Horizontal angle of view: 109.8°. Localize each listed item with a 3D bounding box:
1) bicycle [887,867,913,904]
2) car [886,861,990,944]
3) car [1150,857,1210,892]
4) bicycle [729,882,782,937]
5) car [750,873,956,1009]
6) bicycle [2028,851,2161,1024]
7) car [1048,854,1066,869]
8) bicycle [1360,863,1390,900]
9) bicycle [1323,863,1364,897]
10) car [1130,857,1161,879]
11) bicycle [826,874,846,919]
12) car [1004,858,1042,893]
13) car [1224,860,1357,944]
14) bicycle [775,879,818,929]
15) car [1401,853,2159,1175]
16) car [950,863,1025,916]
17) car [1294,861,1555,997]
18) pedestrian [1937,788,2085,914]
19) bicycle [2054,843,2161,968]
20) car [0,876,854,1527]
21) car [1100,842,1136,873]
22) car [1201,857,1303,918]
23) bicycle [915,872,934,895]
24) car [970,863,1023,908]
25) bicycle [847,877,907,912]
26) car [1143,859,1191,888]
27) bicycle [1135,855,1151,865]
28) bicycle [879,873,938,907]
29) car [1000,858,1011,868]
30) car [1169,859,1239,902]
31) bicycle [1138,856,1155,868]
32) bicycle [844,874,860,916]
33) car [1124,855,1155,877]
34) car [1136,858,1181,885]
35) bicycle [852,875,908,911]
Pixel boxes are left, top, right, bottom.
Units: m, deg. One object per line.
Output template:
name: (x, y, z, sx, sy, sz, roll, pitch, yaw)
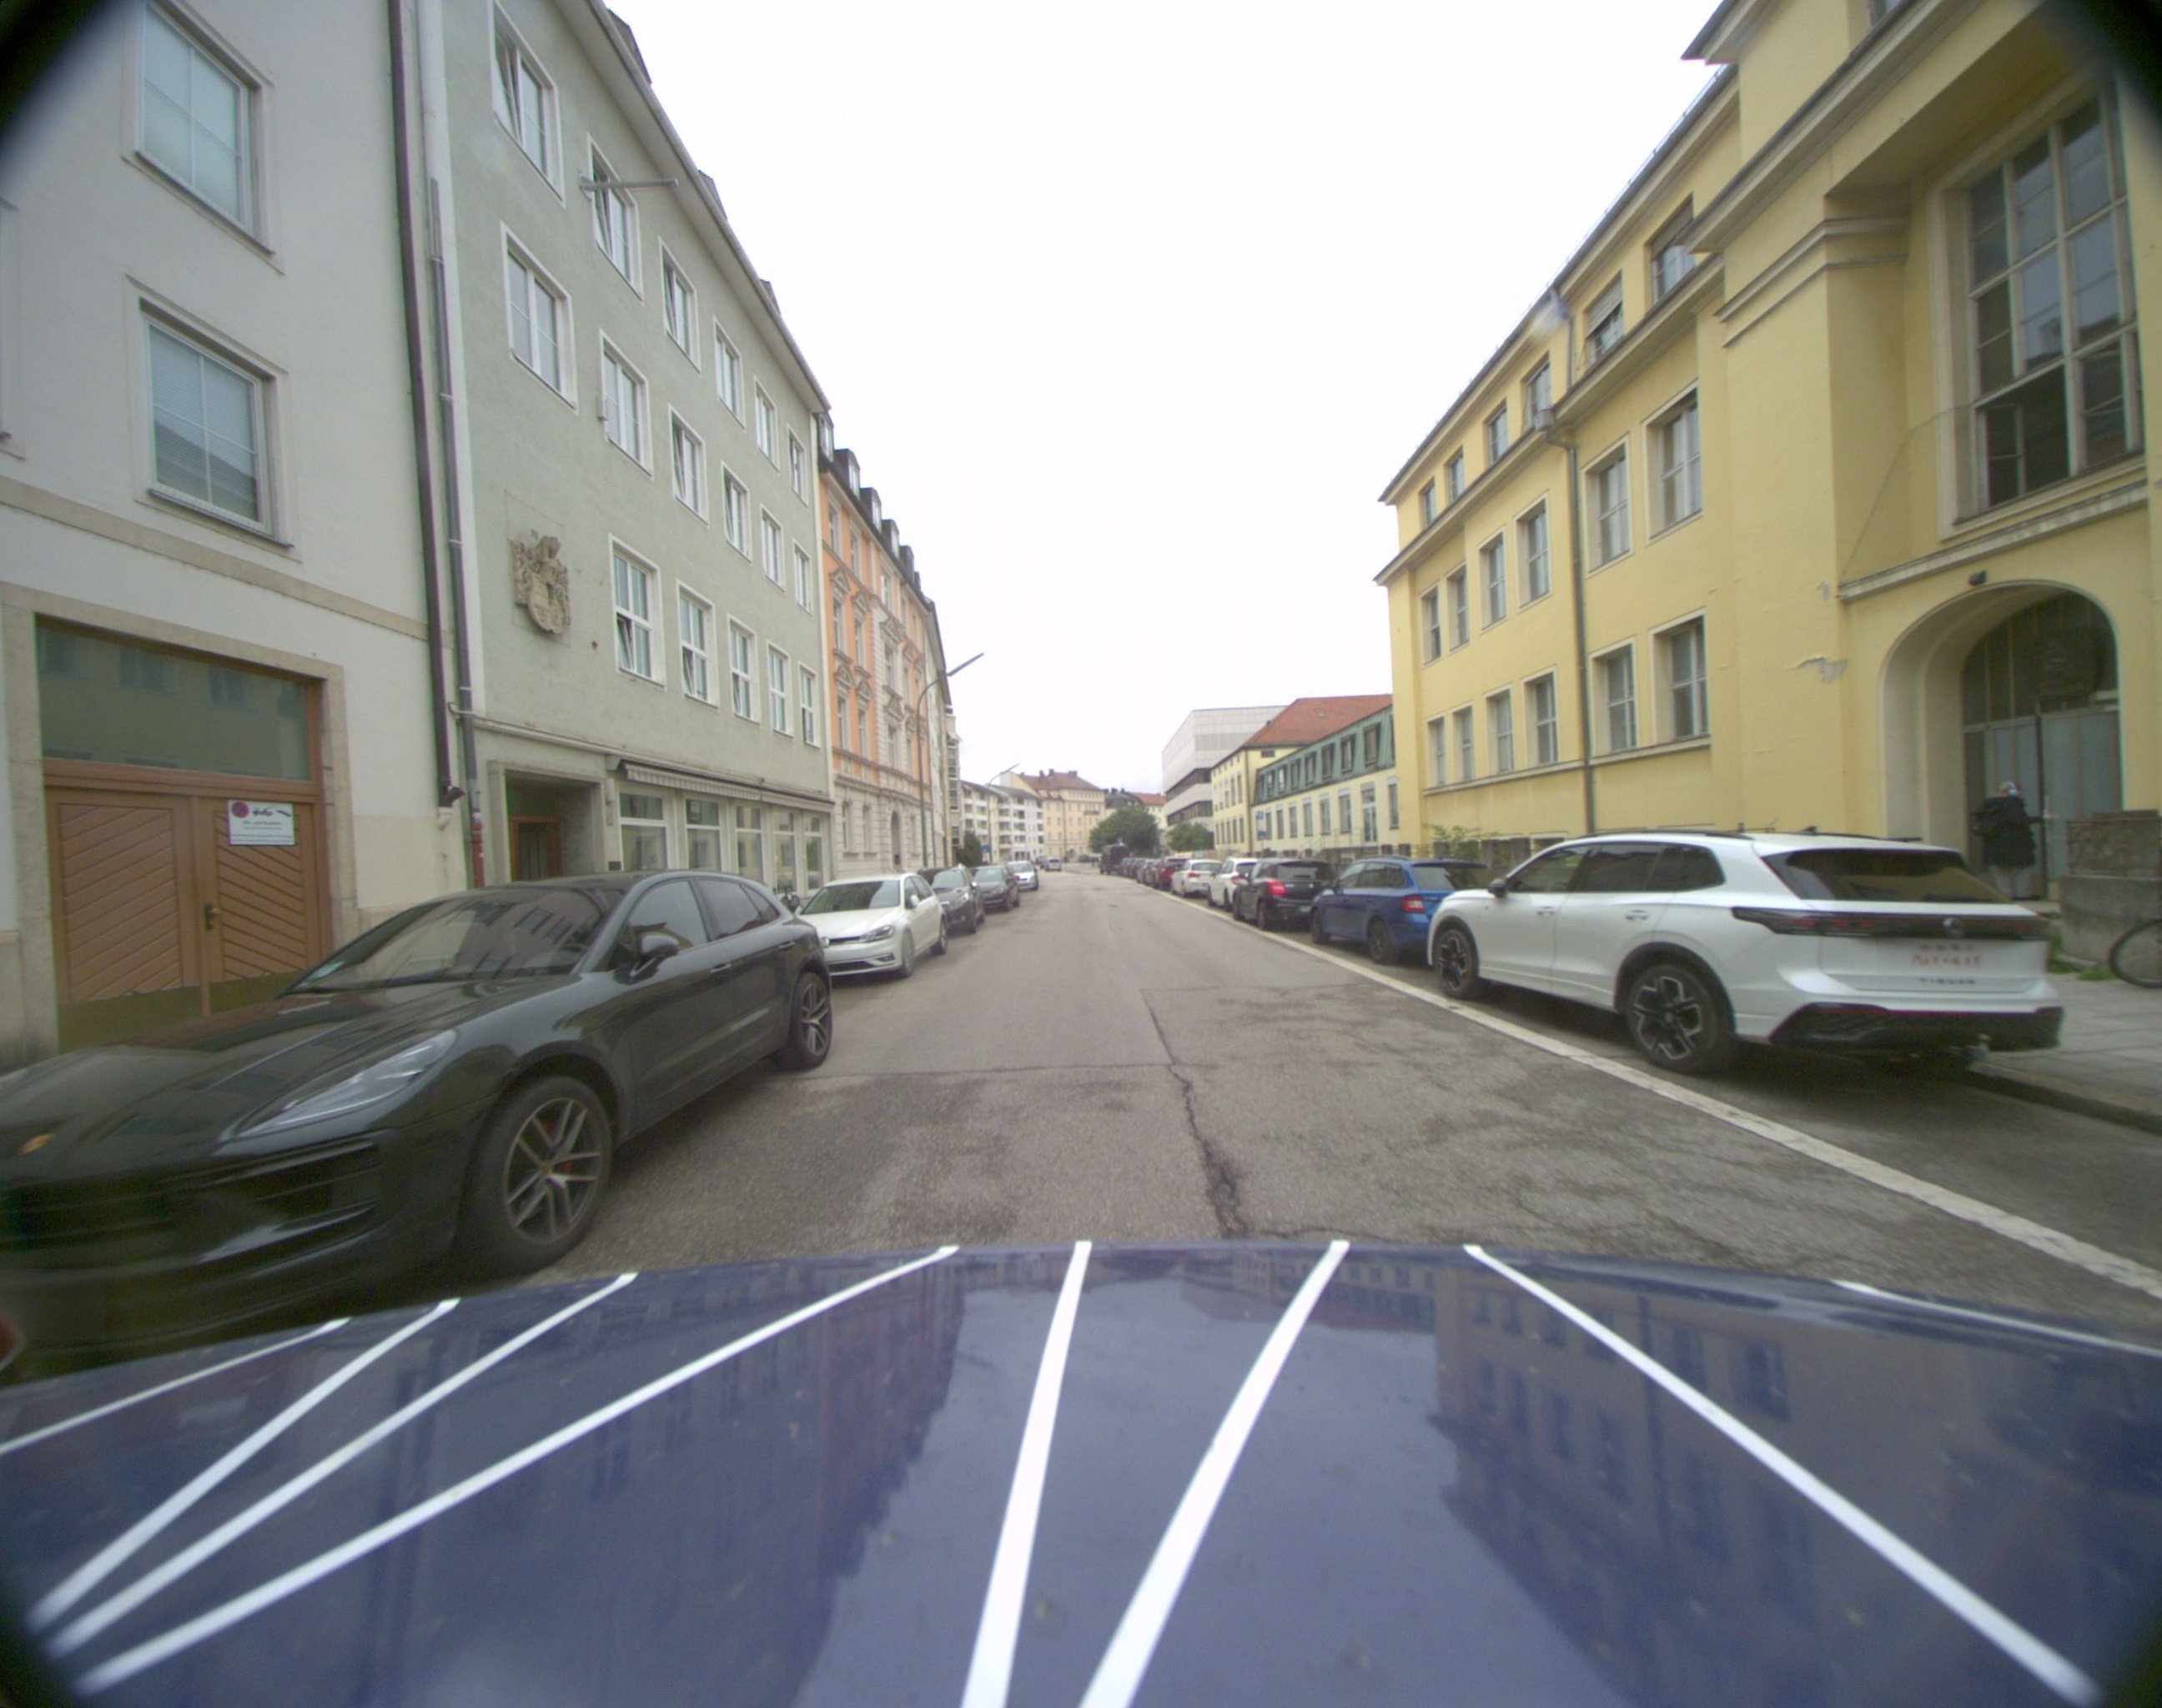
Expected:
bicycle: (-7.113, 1.204, 29.964, 0.597, 1.377, 2.091, -2, 0, -3)
car: (-3.214, 1.014, 17.877, 1.711, 1.583, 4.360, -4, 0, -3)
car: (4.472, 0.876, 34.954, 1.963, 1.473, 4.528, 0, 0, -2)
bicycle: (-7.710, 1.286, 18.080, 0.385, 1.151, 1.949, -2, 0, -1)
car: (-3.199, 1.139, 11.682, 1.677, 1.421, 4.529, -4, 0, 0)
bicycle: (8.750, 0.654, 5.681, 0.682, 1.321, 2.113, -3, 1, 0)
car: (-3.214, 0.961, 100.079, 1.921, 1.837, 5.318, -1, -1, -7)
bicycle: (9.182, 0.852, 23.800, 0.538, 1.056, 1.641, -3, 1, 10)
bicycle: (8.845, 0.856, 25.628, 0.576, 1.056, 1.639, -3, 1, -8)
car: (4.650, 0.990, 55.450, 1.918, 1.473, 4.531, 0, 0, 0)
bicycle: (-7.188, 1.241, 22.332, 0.248, 1.248, 1.233, -2, 0, -5)
car: (-3.118, 1.087, 40.343, 1.686, 1.663, 3.801, -4, 0, -8)
car: (4.362, 0.923, 16.453, 1.703, 1.488, 4.148, 1, 0, 0)
bicycle: (-7.491, 1.286, 20.074, 0.396, 1.170, 1.815, -3, 1, 0)
car: (4.681, 0.821, 6.377, 1.750, 1.624, 4.855, -1, 0, -3)
car: (-2.912, 1.083, 24.543, 1.692, 1.394, 4.364, -3, 0, 1)
car: (4.749, 0.920, 11.344, 1.708, 1.493, 4.494, 3, 0, -1)
pedestrian: (13.281, -0.048, 10.883, 1.058, 1.709, 0.904, -1, 0, -7)
bicycle: (11.491, 0.517, 8.050, 1.630, 1.261, 0.527, -2, 1, 1)
car: (-3.032, 1.029, 4.366, 1.844, 1.513, 4.709, -4, 0, 1)
car: (3.421, 0.323, 71.230, 2.220, 2.837, 6.192, 0, 0, -8)
car: (4.724, 0.873, 21.685, 1.789, 1.423, 4.651, -3, 0, 0)
bicycle: (-7.325, 1.355, 35.651, 0.597, 1.018, 1.817, -2, 0, -3)
car: (-3.213, 1.154, 29.584, 1.692, 1.491, 4.146, -4, 0, -3)
bicycle: (-6.745, 1.321, 25.229, 1.851, 1.061, 0.514, -2, 0, -42)
car: (4.397, 0.961, 39.614, 1.754, 1.397, 4.353, 0, 0, -3)
bicycle: (7.593, 0.778, 92.996, 1.816, 1.145, 0.519, -3, 1, -2)
bicycle: (-6.317, 1.301, 27.911, 2.096, 1.132, 0.583, -2, 0, -44)
car: (-12.665, 1.502, 127.622, 1.756, 1.483, 3.997, -3, 0, -7)
car: (4.623, 0.956, 29.266, 1.799, 1.421, 4.663, 1, 0, -2)
bicycle: (7.086, 0.844, 82.387, 1.816, 1.145, 0.519, -3, 1, -2)
bicycle: (-6.996, 1.240, 23.241, 0.248, 1.248, 0.916, -2, 0, -5)
car: (4.565, 0.949, 60.212, 1.919, 1.578, 4.351, 1, -1, -3)
car: (4.488, 0.974, 44.653, 2.020, 1.410, 4.614, 0, 1, -2)
bicycle: (-6.810, 1.305, 25.826, 0.620, 1.083, 1.818, -2, 0, 35)
